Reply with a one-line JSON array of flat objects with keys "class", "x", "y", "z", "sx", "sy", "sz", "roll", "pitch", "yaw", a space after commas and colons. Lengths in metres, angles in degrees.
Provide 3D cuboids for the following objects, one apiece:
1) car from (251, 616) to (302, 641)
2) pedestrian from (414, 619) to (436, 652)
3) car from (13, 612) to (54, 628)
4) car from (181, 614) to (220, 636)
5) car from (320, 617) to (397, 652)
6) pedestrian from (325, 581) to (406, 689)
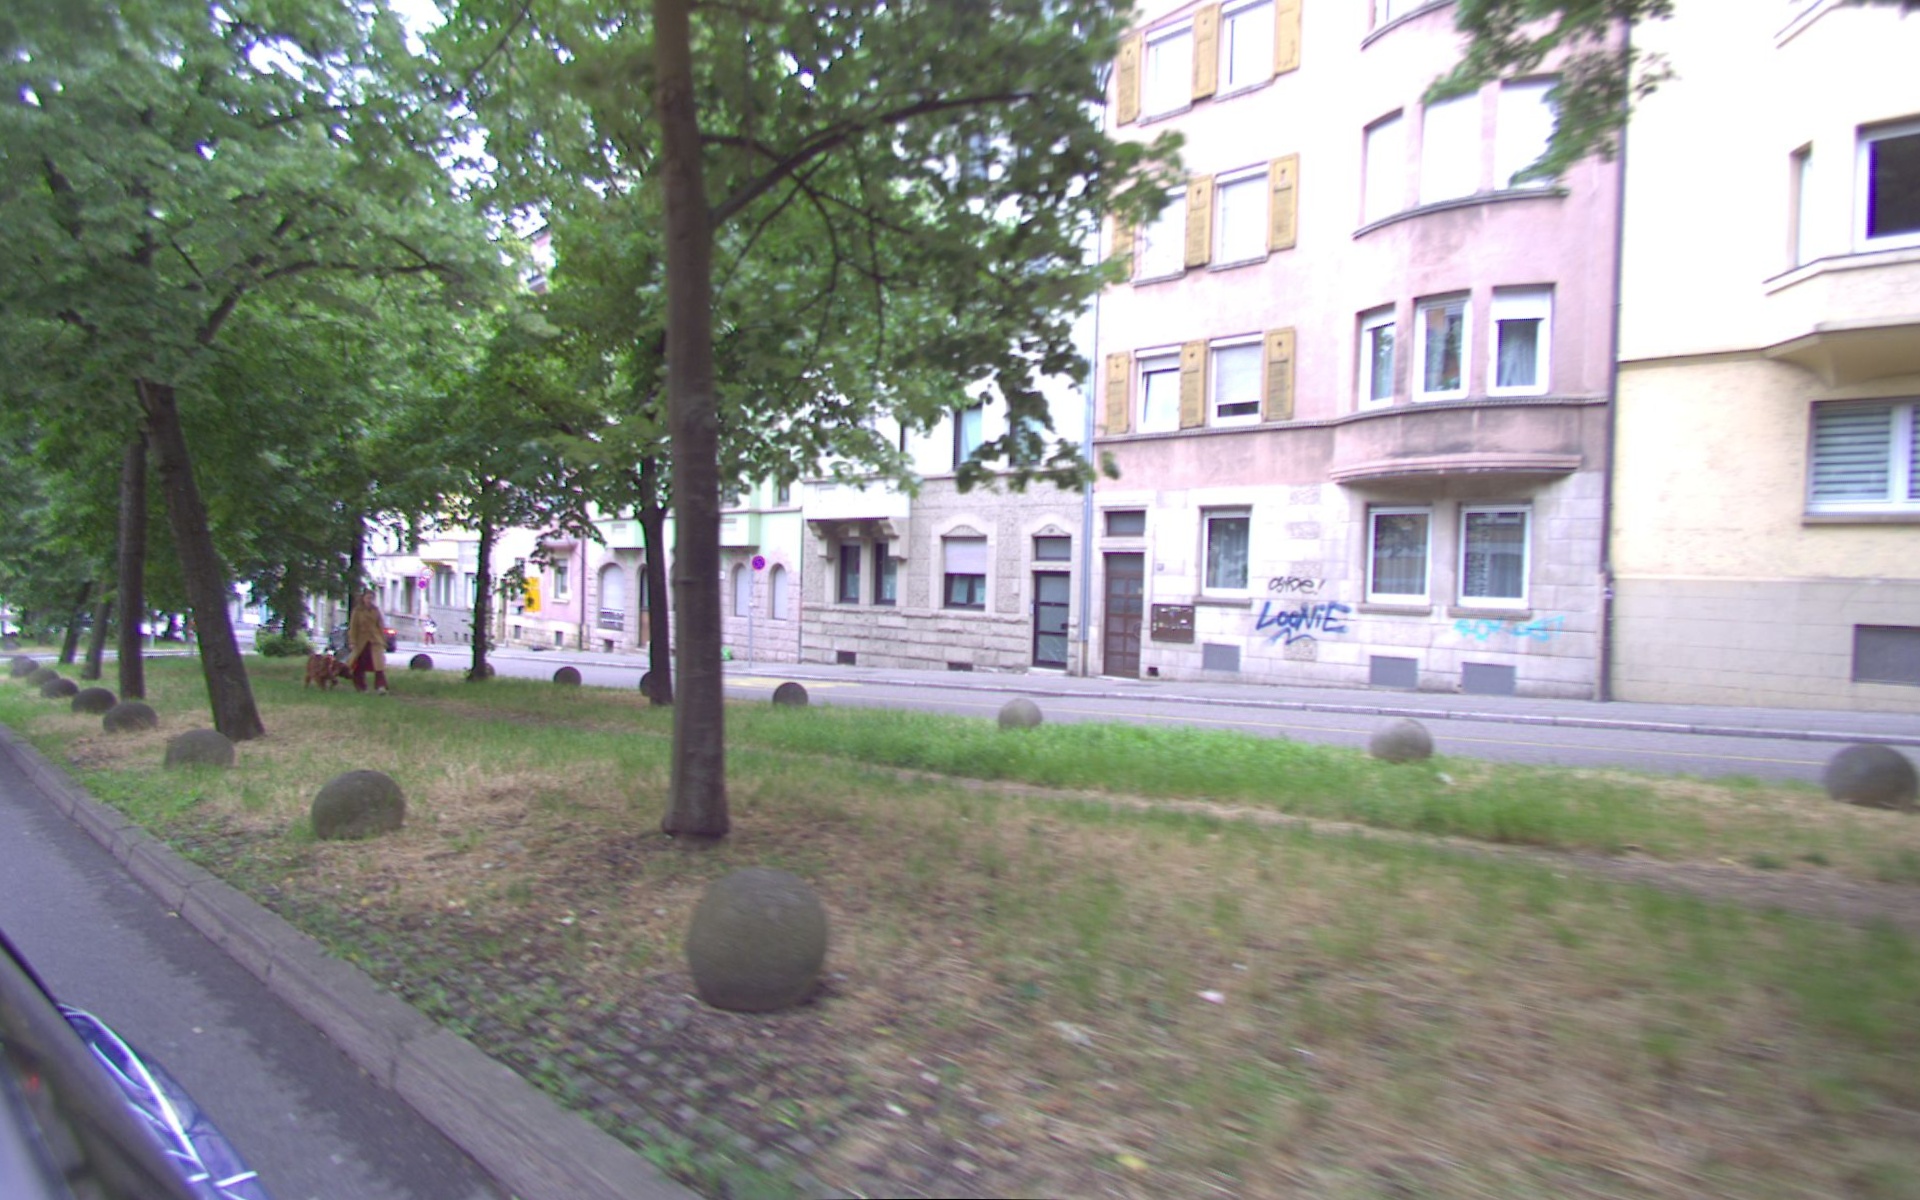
[{"class": "car", "x": -39.971, "y": 1.697, "z": 59.135, "sx": 1.688, "sy": 1.393, "sz": 4.672, "roll": 2, "pitch": -3, "yaw": -43}, {"class": "pedestrian", "x": -24.331, "y": 1.591, "z": 46.033, "sx": 0.690, "sy": 1.471, "sz": 0.704, "roll": -1, "pitch": -1, "yaw": -44}, {"class": "car", "x": -108.775, "y": 2.344, "z": 118.856, "sx": 2.174, "sy": 1.583, "sz": 4.492, "roll": 0, "pitch": 1, "yaw": -22}, {"class": "car", "x": -61.543, "y": 2.003, "z": 81.974, "sx": 4.681, "sy": 1.649, "sz": 1.795, "roll": 0, "pitch": -2, "yaw": 44}, {"class": "car", "x": -24.957, "y": 1.440, "z": 41.909, "sx": 1.737, "sy": 1.393, "sz": 4.672, "roll": 2, "pitch": -3, "yaw": -43}, {"class": "pedestrian", "x": -9.948, "y": 0.584, "z": 16.927, "sx": 0.823, "sy": 1.725, "sz": 1.124, "roll": 5, "pitch": -2, "yaw": -44}]
